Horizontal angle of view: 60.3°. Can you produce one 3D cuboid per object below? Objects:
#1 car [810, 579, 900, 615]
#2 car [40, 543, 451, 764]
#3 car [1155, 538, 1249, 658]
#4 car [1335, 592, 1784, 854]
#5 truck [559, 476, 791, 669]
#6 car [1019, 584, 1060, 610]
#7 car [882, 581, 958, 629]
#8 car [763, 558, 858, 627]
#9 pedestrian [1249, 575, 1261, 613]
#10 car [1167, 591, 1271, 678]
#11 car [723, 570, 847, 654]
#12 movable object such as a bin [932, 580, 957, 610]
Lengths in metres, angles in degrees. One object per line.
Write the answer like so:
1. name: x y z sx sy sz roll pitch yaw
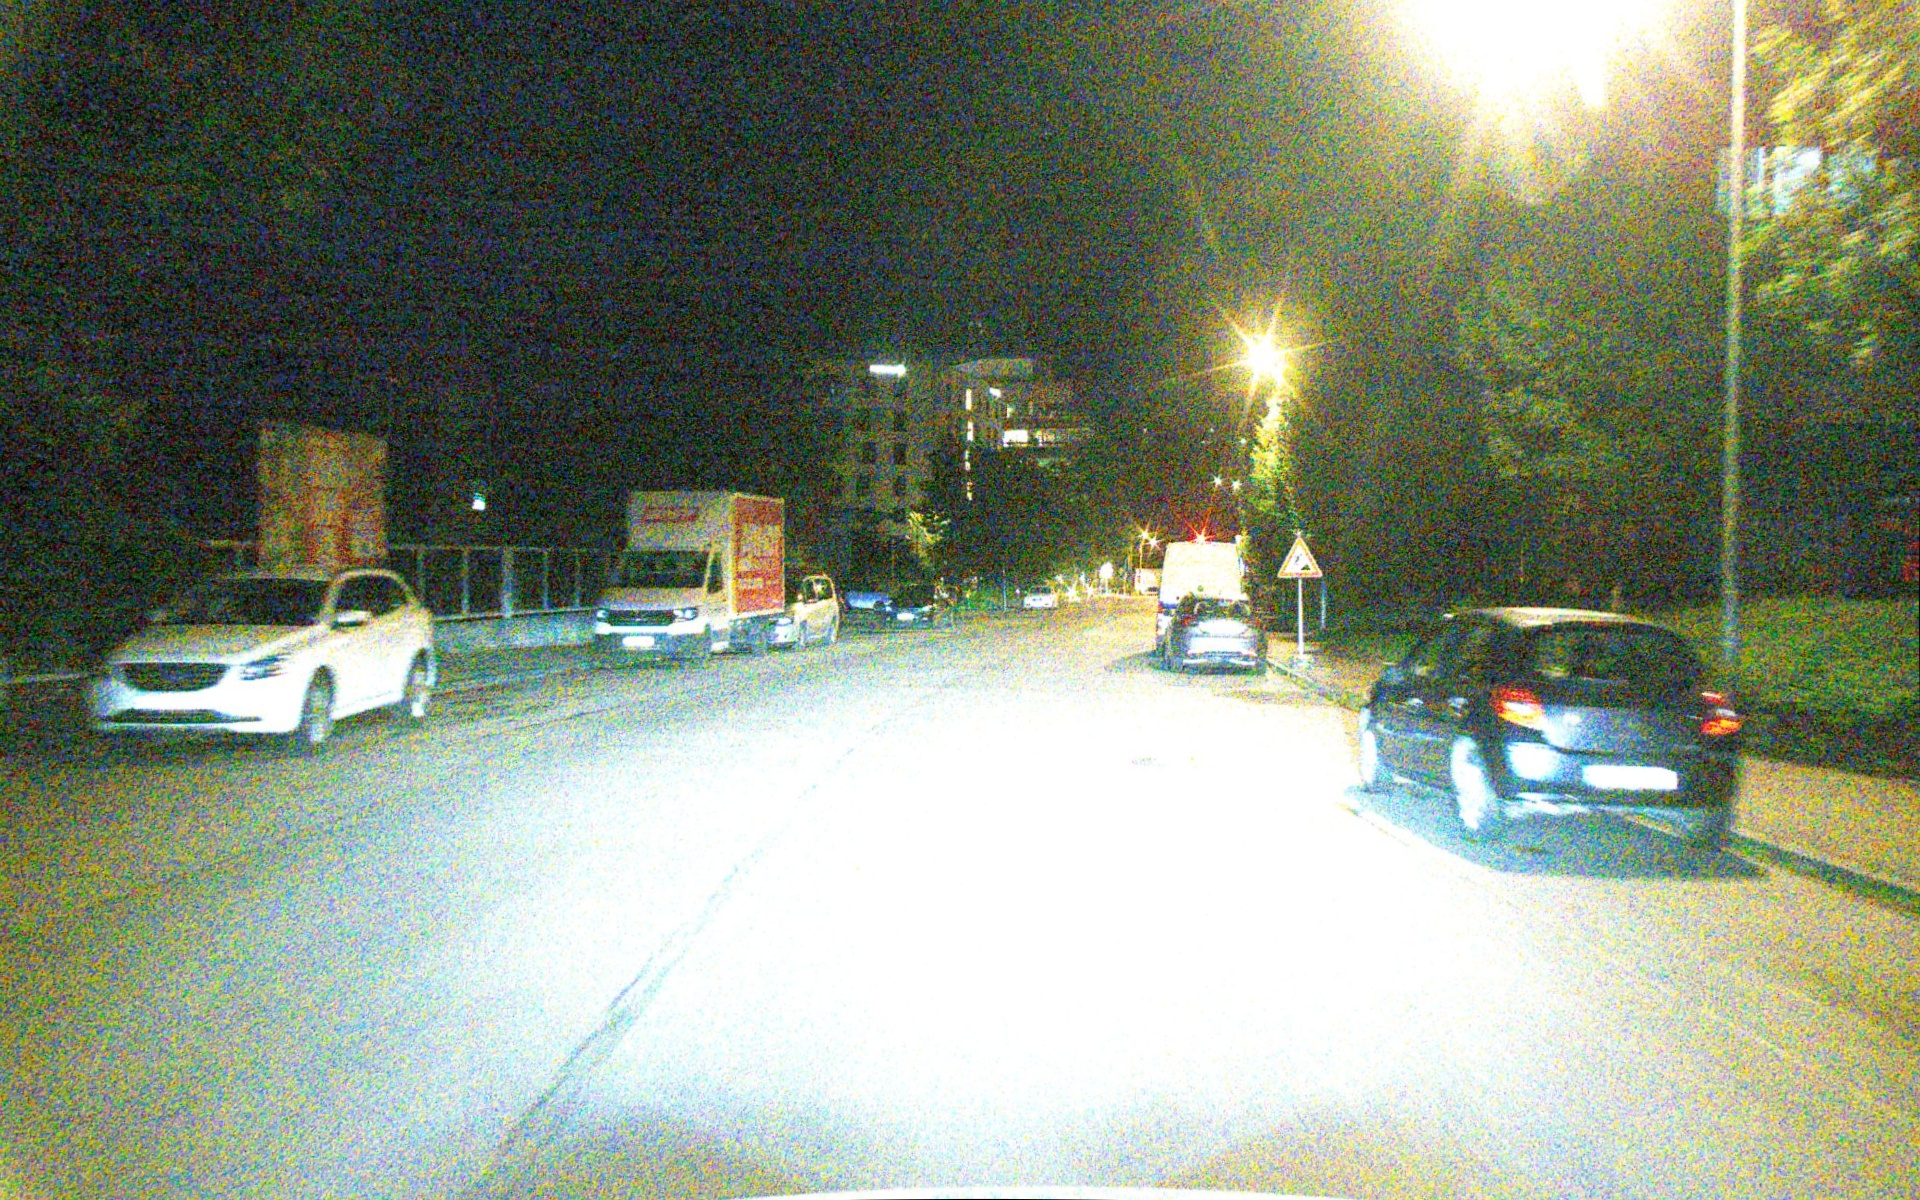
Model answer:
1. car: -4.914 -0.143 77.572 3.902 1.598 1.819 -1 0 9
2. car: -6.535 0.410 15.814 1.953 1.803 4.691 0 1 -1
3. car: 5.698 -0.073 38.907 1.977 2.570 6.057 1 1 8
4. car: 4.070 0.735 11.957 1.676 1.534 3.999 1 1 -2
5. truck: -5.327 -0.514 32.389 2.489 3.337 7.318 0 1 7
6. car: 4.651 -0.176 96.367 1.870 1.428 4.342 0 1 10
7. car: -1.338 0.185 56.937 1.717 1.553 4.326 1 0 11
8. car: -5.412 -0.306 60.511 1.951 2.362 4.971 -2 0 13
9. pedestrian: 14.580 -0.314 81.751 0.558 1.885 0.821 0 0 10
10. car: 4.909 0.604 31.839 1.674 1.534 4.643 0 1 5
11. car: -4.027 0.246 38.871 1.790 1.848 4.842 -1 0 8
12. movable object such as a bin: -0.759 -0.259 84.025 1.139 1.522 1.066 0 0 6
